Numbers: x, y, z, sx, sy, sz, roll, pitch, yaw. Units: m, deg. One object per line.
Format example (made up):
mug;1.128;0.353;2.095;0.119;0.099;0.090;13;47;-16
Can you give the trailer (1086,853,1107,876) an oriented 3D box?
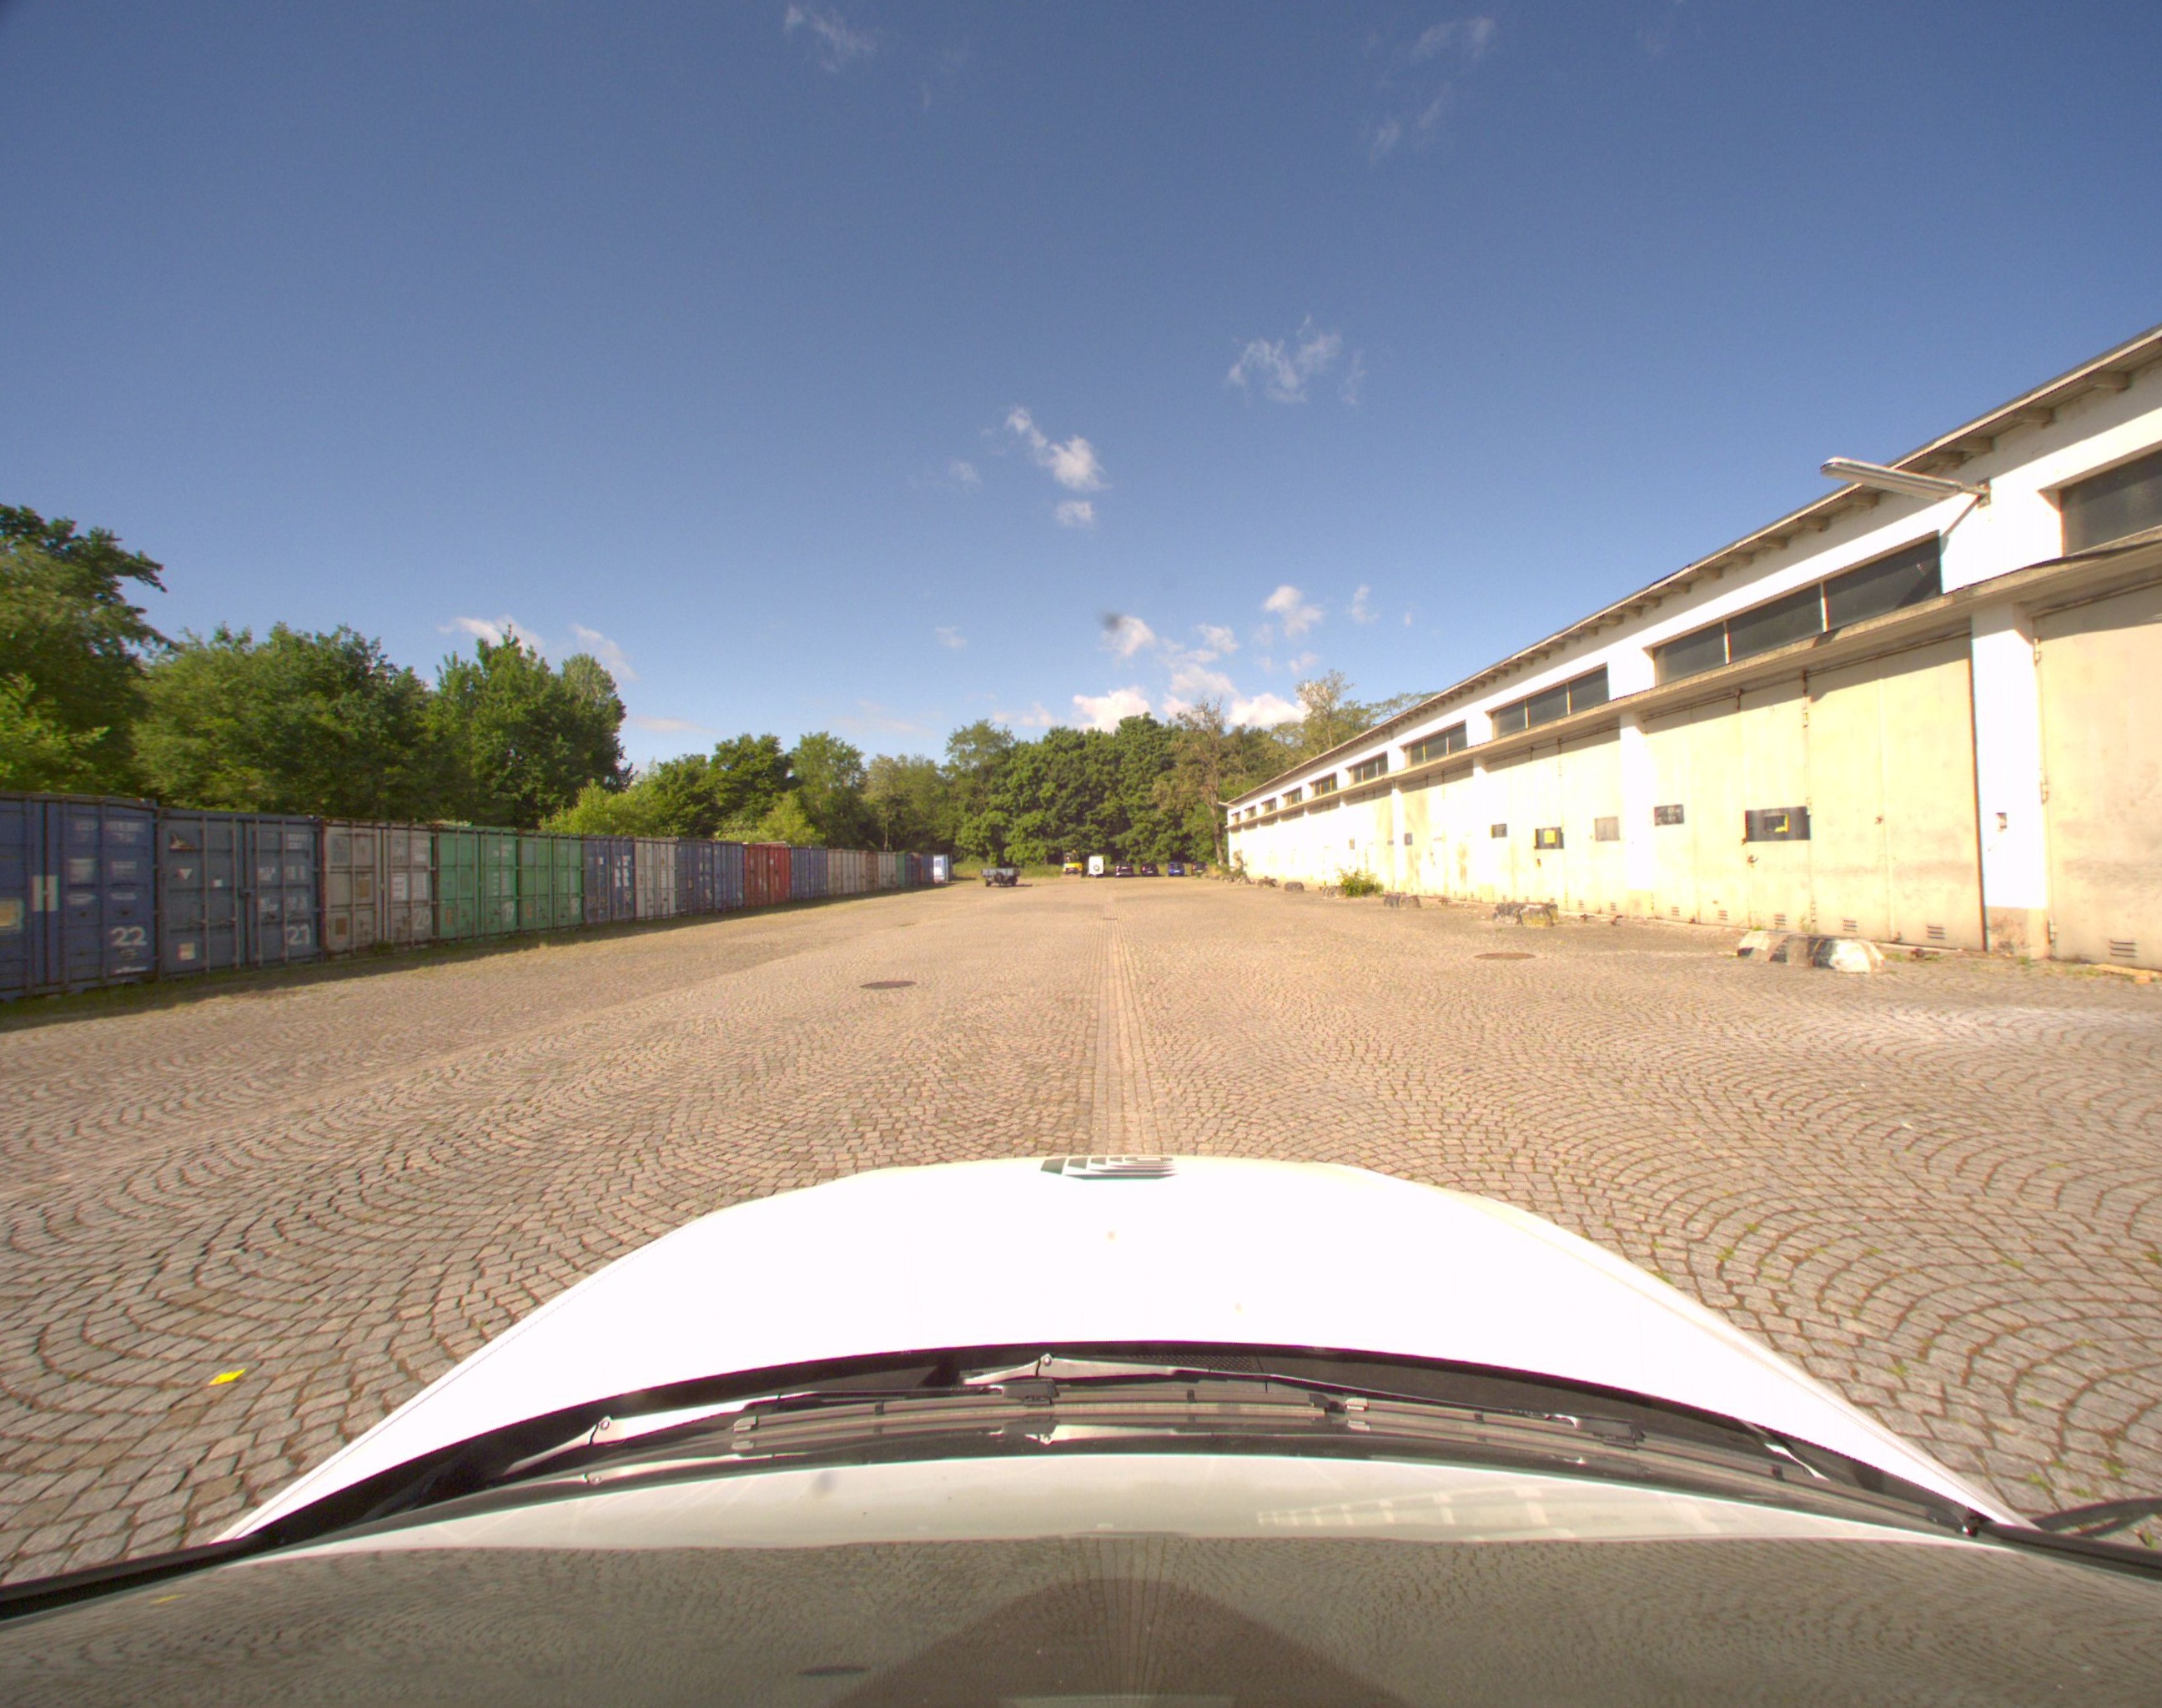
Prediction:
trailer;1.527;1.088;81.286;1.986;2.162;4.432;-2;-1;1

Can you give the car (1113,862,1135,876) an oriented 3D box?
car;4.164;1.457;79.996;1.986;1.258;4.001;-2;-1;1

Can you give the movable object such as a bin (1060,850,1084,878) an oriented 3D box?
movable object such as a bin;-0.908;0.999;82.091;2.225;2.657;3.998;-2;-1;-1

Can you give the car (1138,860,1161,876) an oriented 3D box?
car;6.692;1.349;80.323;1.986;1.424;4.001;-2;-1;1

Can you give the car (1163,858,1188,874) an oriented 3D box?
car;9.271;1.220;80.266;1.986;1.466;4.001;-2;-1;1

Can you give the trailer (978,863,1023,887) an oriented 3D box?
trailer;-6.161;1.571;62.859;2.782;1.646;5.621;-2;-1;1

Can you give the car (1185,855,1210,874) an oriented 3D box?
car;11.658;1.032;81.469;1.986;1.772;4.001;-2;-1;1
